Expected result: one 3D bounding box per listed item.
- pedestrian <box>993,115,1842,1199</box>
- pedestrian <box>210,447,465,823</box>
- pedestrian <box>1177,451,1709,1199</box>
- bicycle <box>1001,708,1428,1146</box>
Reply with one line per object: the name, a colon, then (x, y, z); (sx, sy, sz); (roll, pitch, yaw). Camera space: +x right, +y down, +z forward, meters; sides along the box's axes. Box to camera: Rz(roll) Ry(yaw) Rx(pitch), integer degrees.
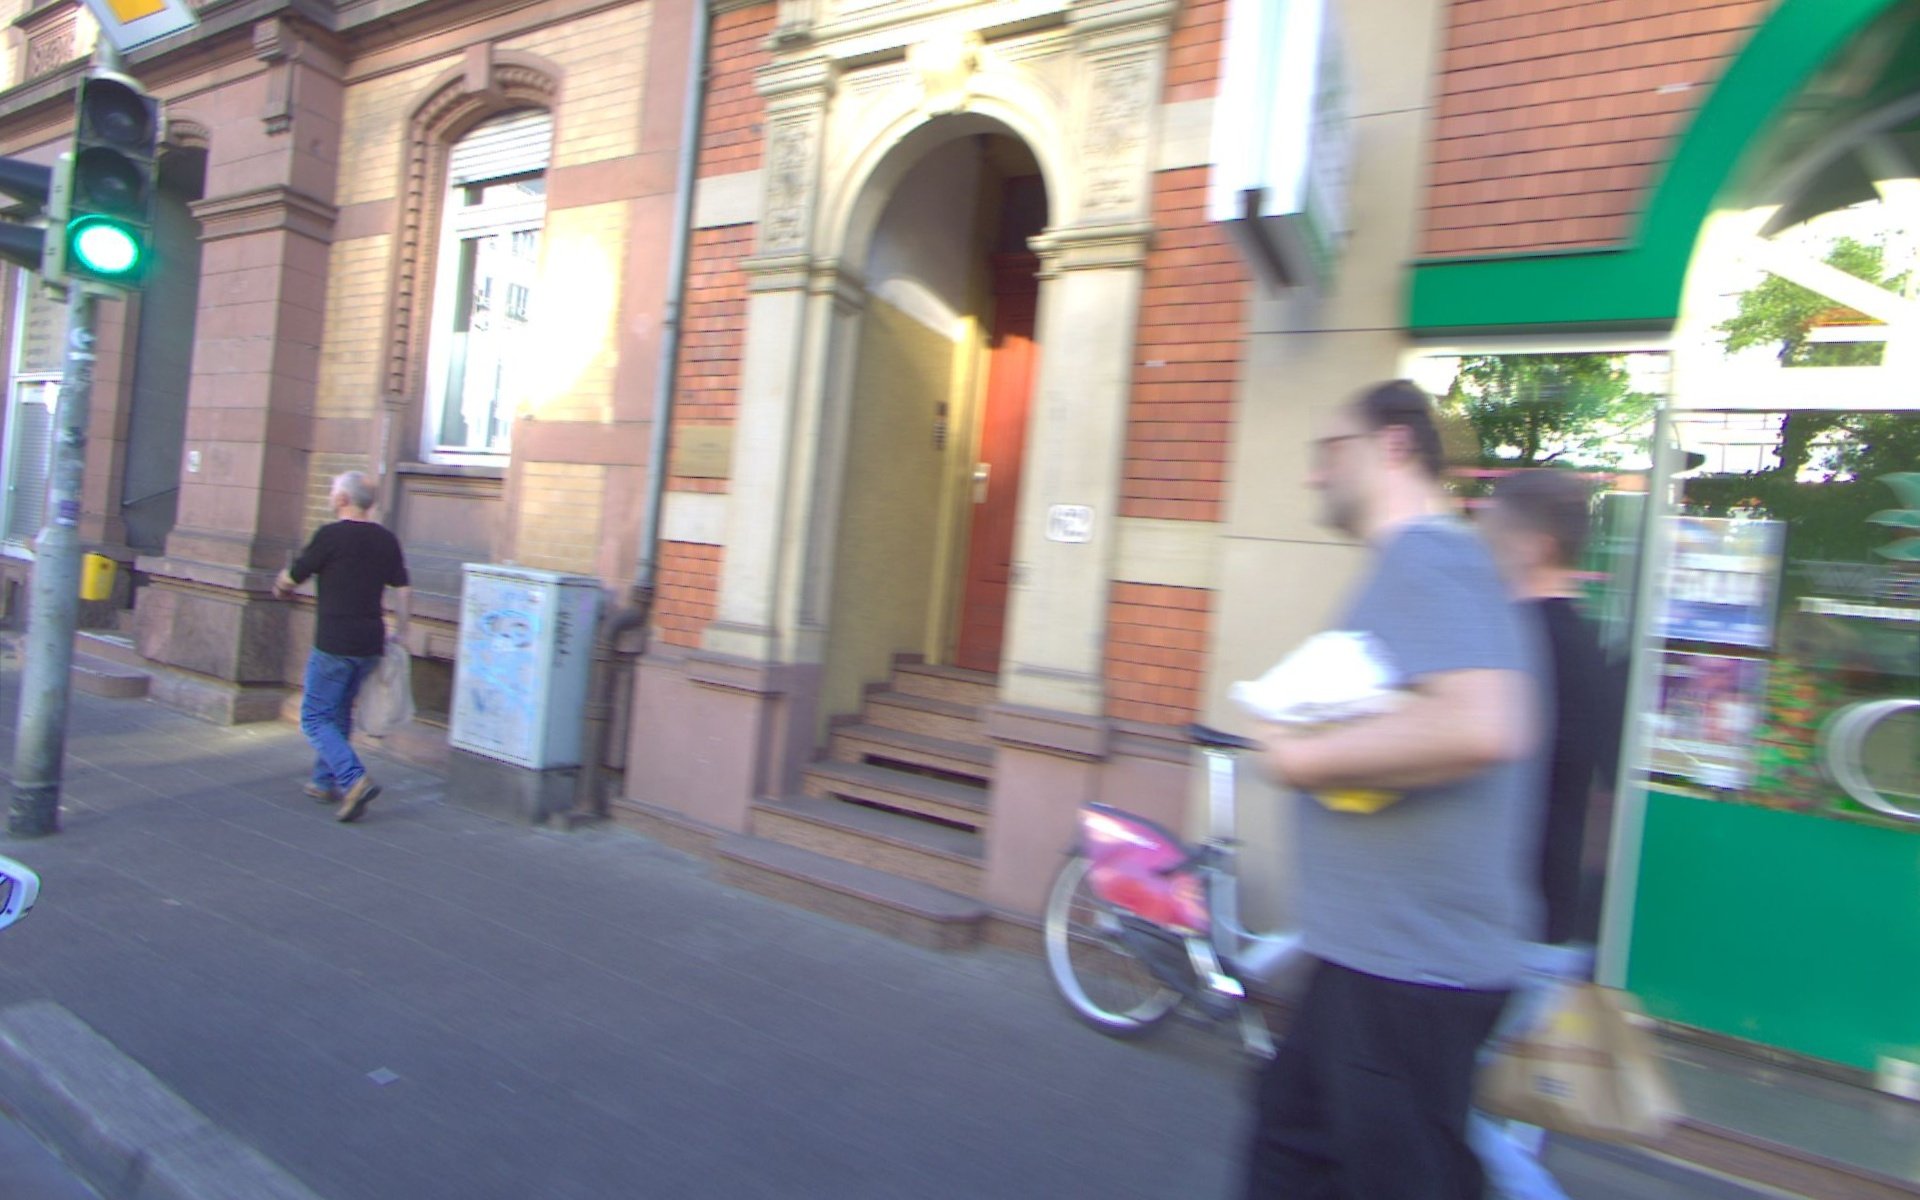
pedestrian: (0.599, 0.494, 1.497); (0.741, 1.919, 0.822); (7, 2, 30)
pedestrian: (-3.209, 0.154, 5.209); (0.741, 1.746, 0.776); (7, 2, 30)
pedestrian: (1.025, 0.618, 2.213); (0.741, 1.746, 0.776); (7, 2, 30)
bicycle: (0.767, 0.951, 3.258); (1.222, 1.009, 0.344); (7, 2, 39)
